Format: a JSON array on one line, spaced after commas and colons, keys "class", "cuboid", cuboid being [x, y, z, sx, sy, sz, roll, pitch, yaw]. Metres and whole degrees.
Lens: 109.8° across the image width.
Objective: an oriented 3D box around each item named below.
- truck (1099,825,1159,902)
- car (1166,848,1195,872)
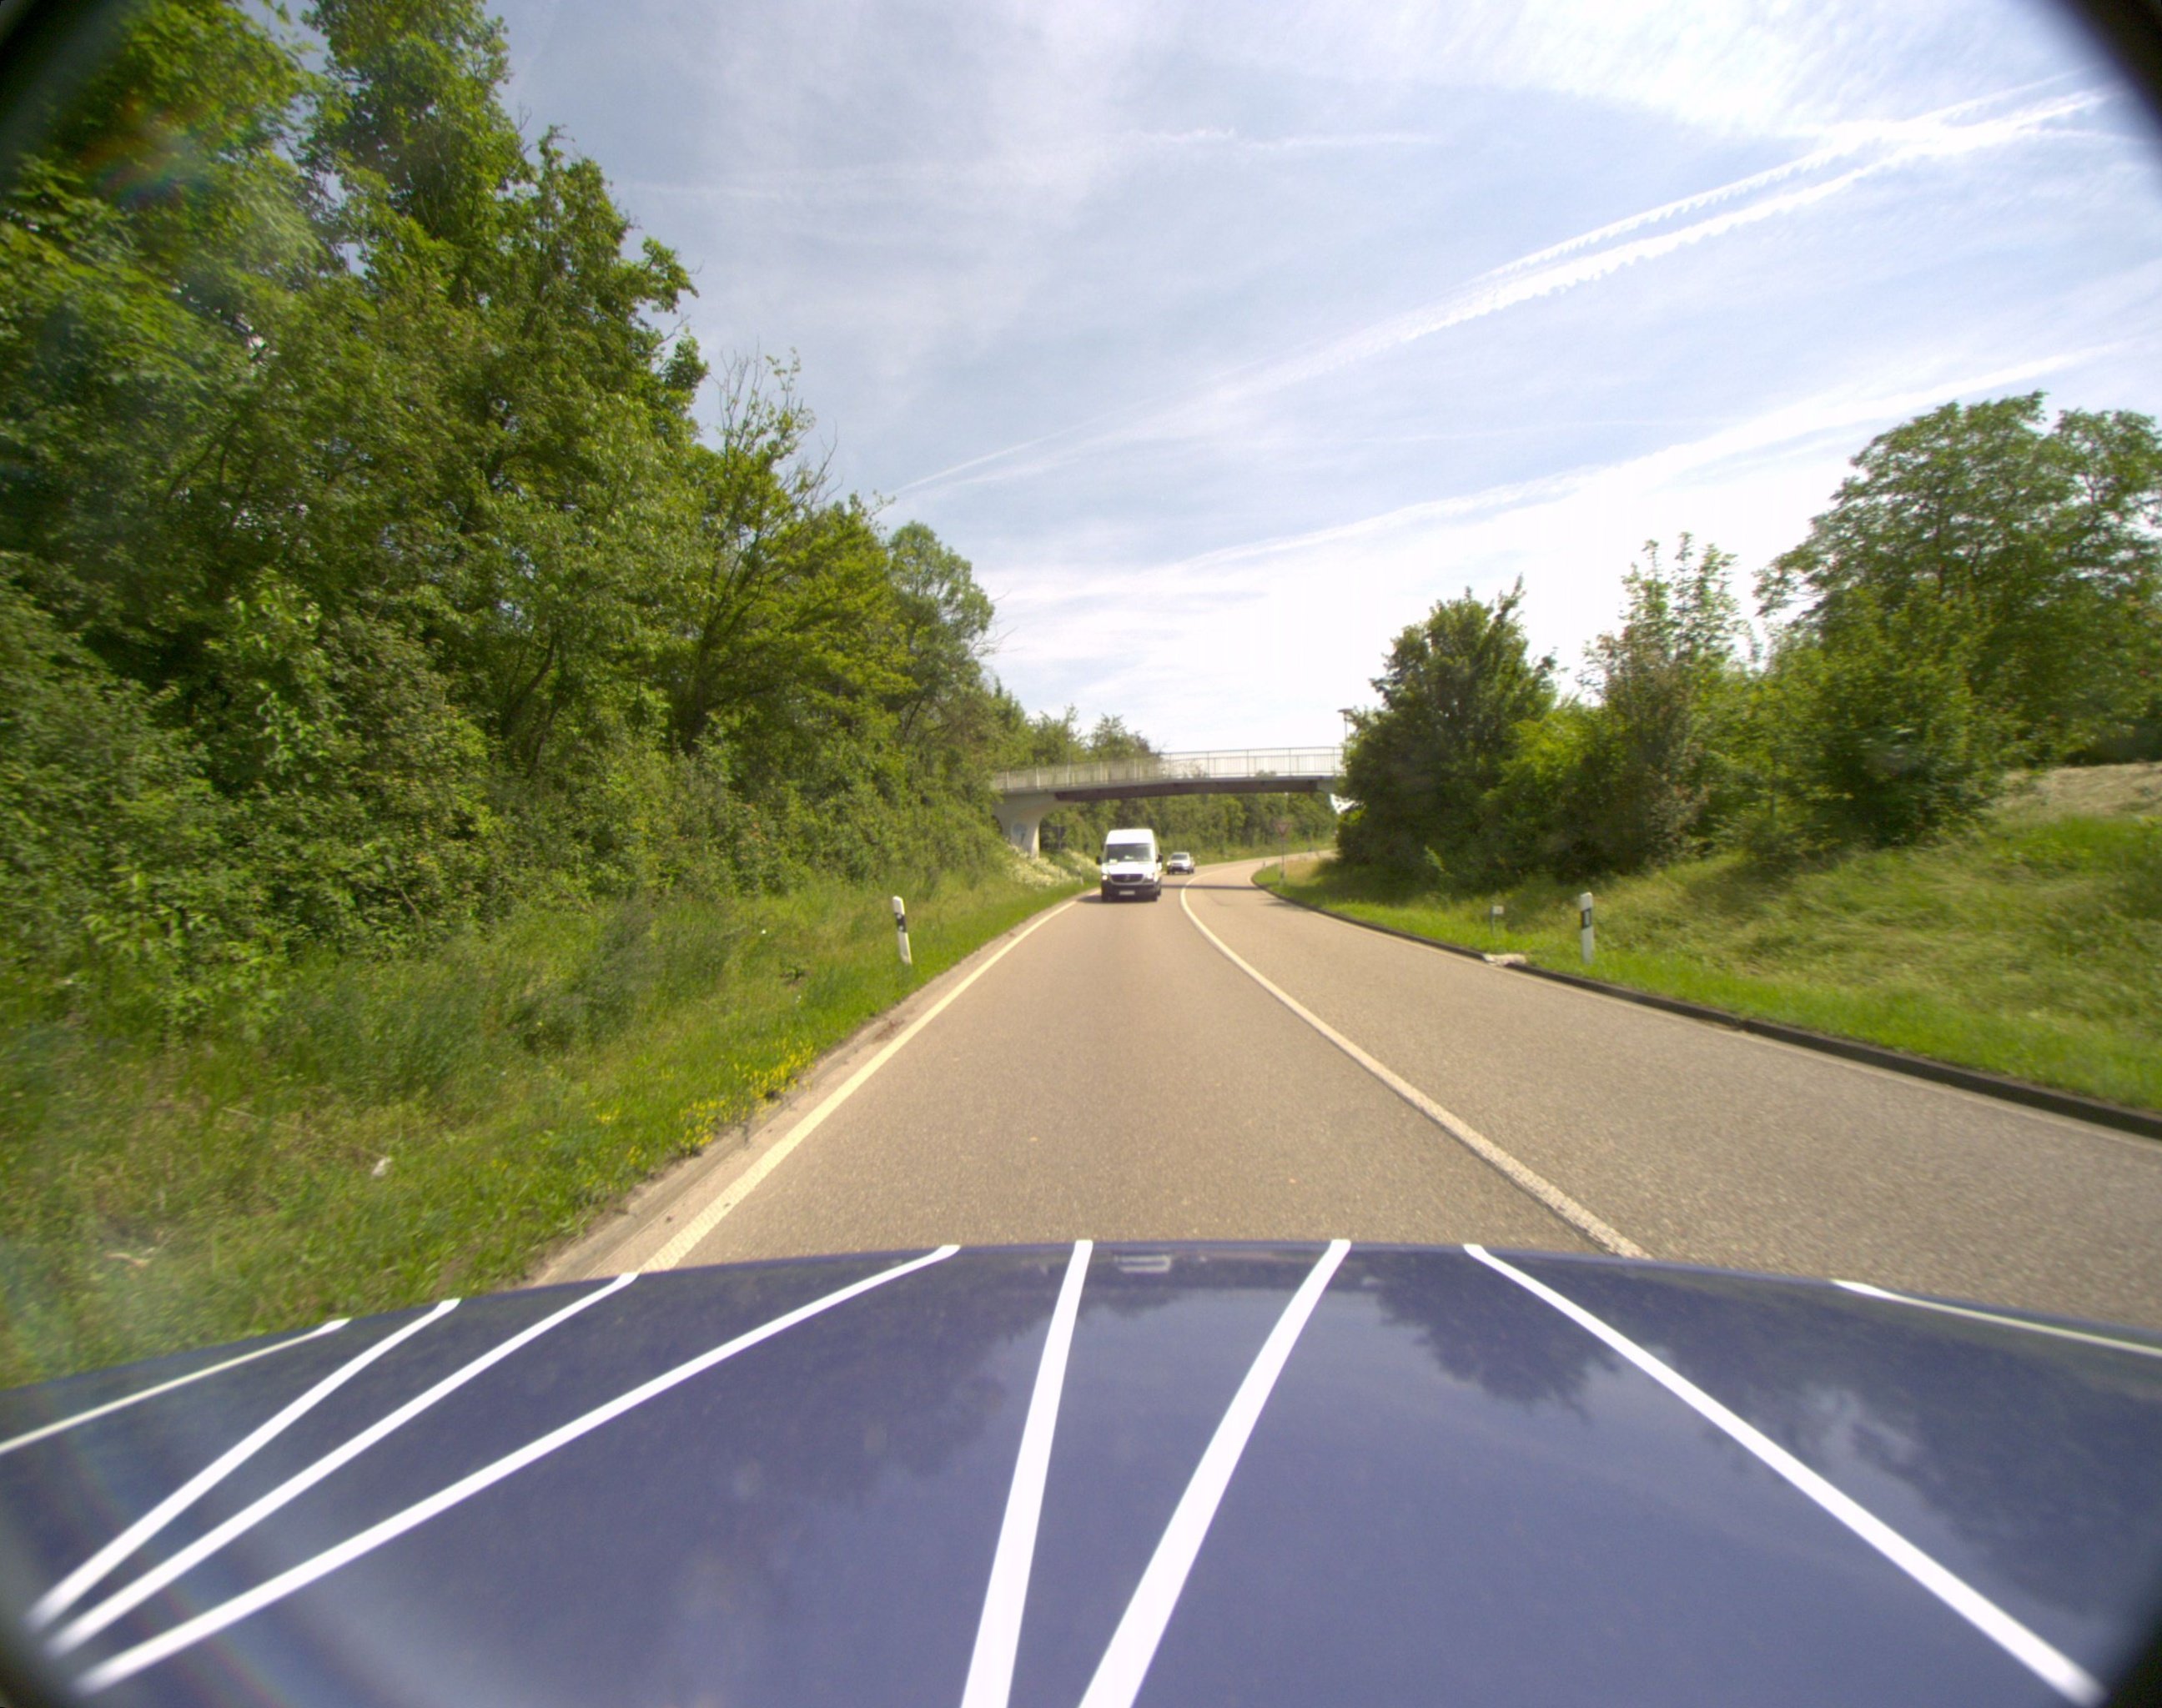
[{"class": "truck", "cuboid": [1.863, 0.323, 28.526, 1.998, 2.571, 5.889, -1, 0, 5]}, {"class": "car", "cuboid": [7.811, 0.430, 59.374, 1.847, 1.698, 4.092, -1, 1, 13]}]
